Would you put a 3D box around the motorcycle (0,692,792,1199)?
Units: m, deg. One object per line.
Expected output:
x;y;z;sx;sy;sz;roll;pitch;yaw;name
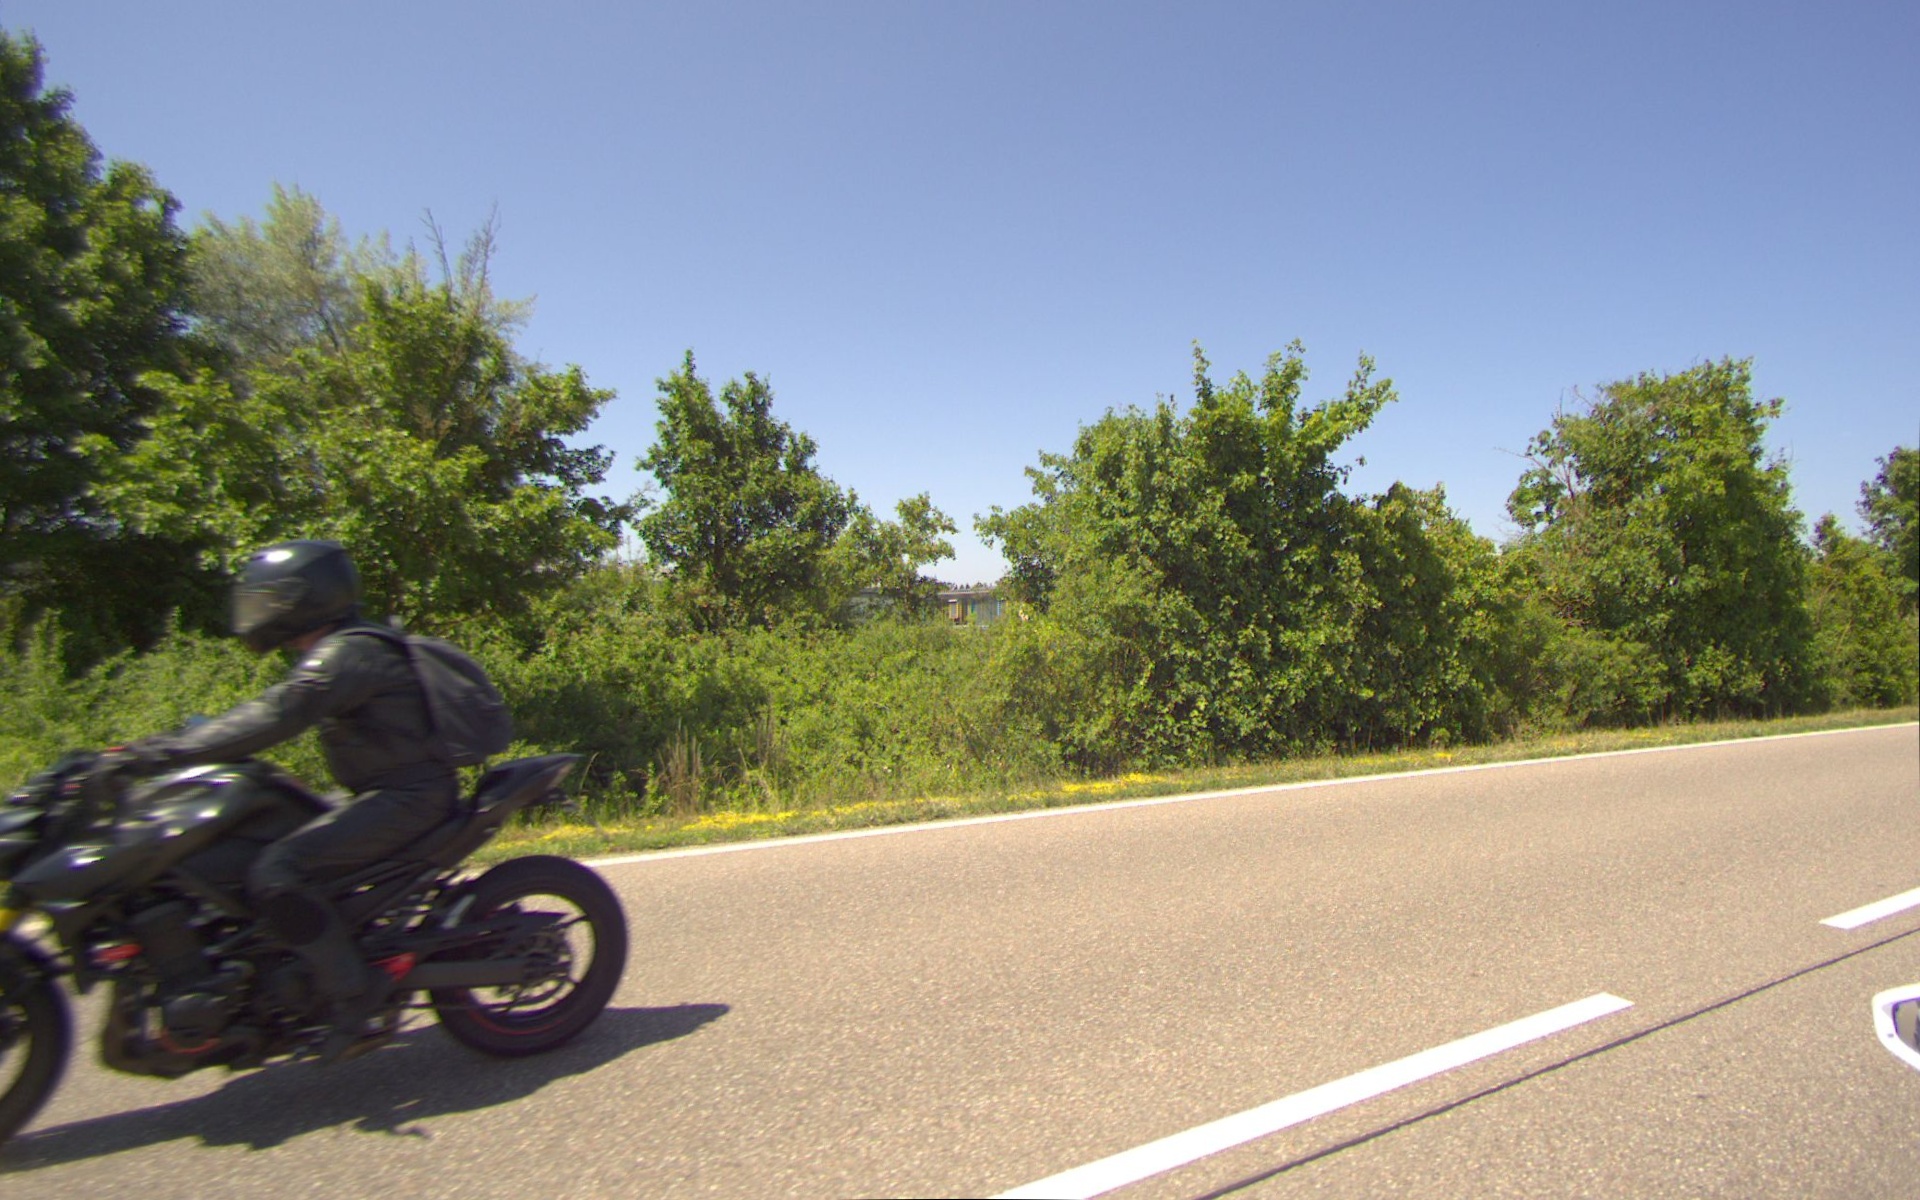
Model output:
-1.568;0.894;3.060;2.000;1.123;0.613;1;-1;-33;motorcycle

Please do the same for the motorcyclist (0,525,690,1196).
-1.811;0.595;2.934;1.797;1.494;0.830;1;-1;-32;motorcyclist
